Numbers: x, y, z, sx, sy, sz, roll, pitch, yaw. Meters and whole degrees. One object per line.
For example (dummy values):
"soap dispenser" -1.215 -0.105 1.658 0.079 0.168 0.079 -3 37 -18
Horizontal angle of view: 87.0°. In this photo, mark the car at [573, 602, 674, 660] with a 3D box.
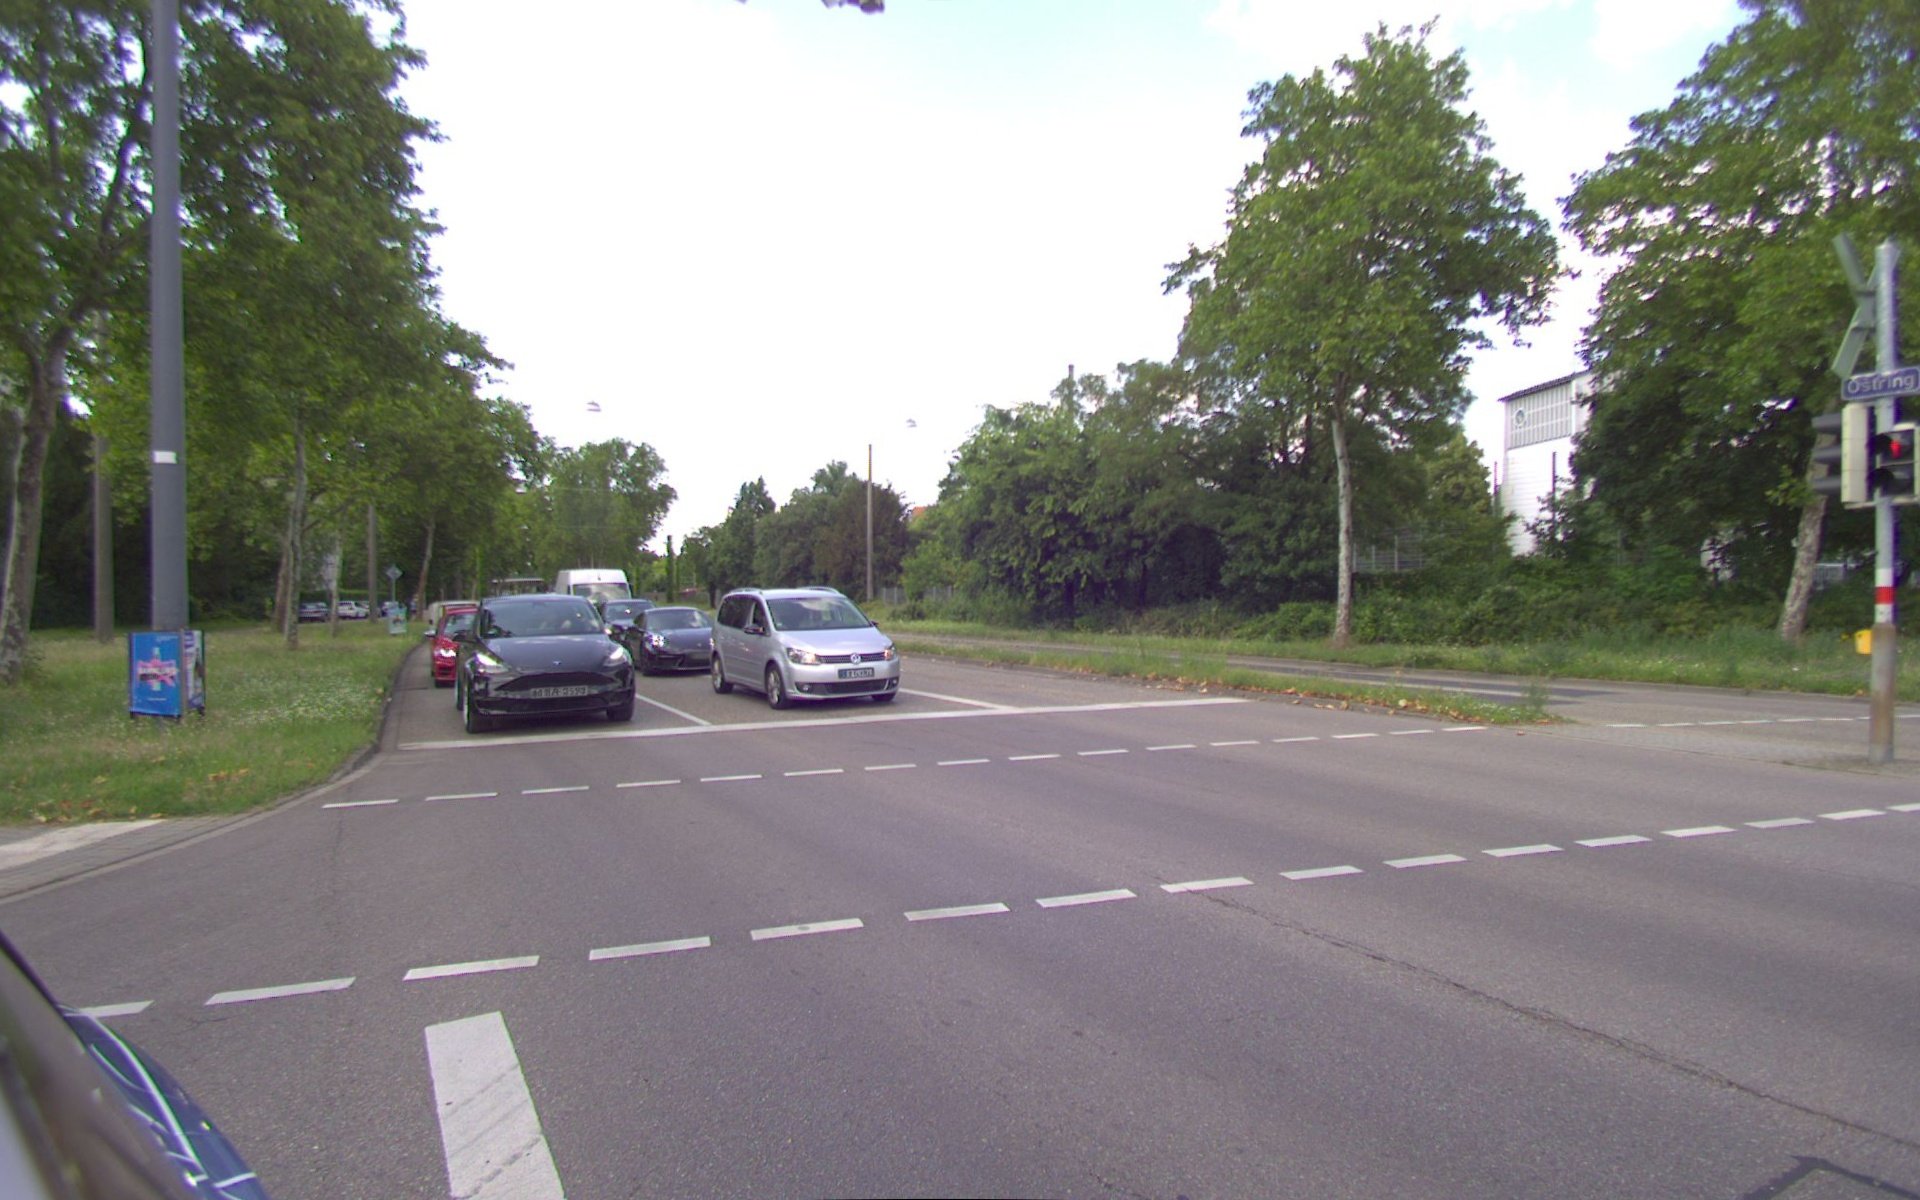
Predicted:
"car" -9.206 0.769 27.451 1.735 1.385 4.357 -2 1 -30

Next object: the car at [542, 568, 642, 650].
"car" -12.783 0.273 34.844 2.190 2.549 5.951 -2 1 -30

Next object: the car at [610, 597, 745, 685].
"car" -5.848 0.744 20.621 1.773 1.519 4.013 -3 1 -28

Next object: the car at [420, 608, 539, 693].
"car" -9.643 0.898 20.124 1.771 1.401 4.516 -2 1 -30

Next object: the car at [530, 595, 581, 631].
"car" -19.719 0.624 49.278 1.734 1.659 4.357 0 0 -30

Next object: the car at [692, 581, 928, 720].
"car" -2.387 0.619 14.970 1.898 1.664 4.516 -2 1 -30

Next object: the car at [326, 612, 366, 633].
"car" -49.374 1.804 81.395 1.747 1.608 3.666 -1 -2 -14

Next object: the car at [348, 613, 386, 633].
"car" -50.206 1.953 85.741 1.747 1.608 3.666 -1 -2 -14

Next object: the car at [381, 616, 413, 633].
"car" -53.542 2.346 96.279 1.747 1.608 3.666 -1 -2 -14

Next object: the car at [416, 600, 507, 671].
"car" -12.728 0.826 25.707 1.771 1.581 4.516 -2 1 -30

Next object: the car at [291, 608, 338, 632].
"car" -46.386 1.477 72.819 1.747 1.608 3.666 -1 -2 -14

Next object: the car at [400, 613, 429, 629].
"car" -55.971 2.149 103.830 1.747 1.608 3.666 -1 -2 -14

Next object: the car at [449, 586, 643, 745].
"car" -5.659 0.707 13.465 1.898 1.664 4.594 -2 1 -28
